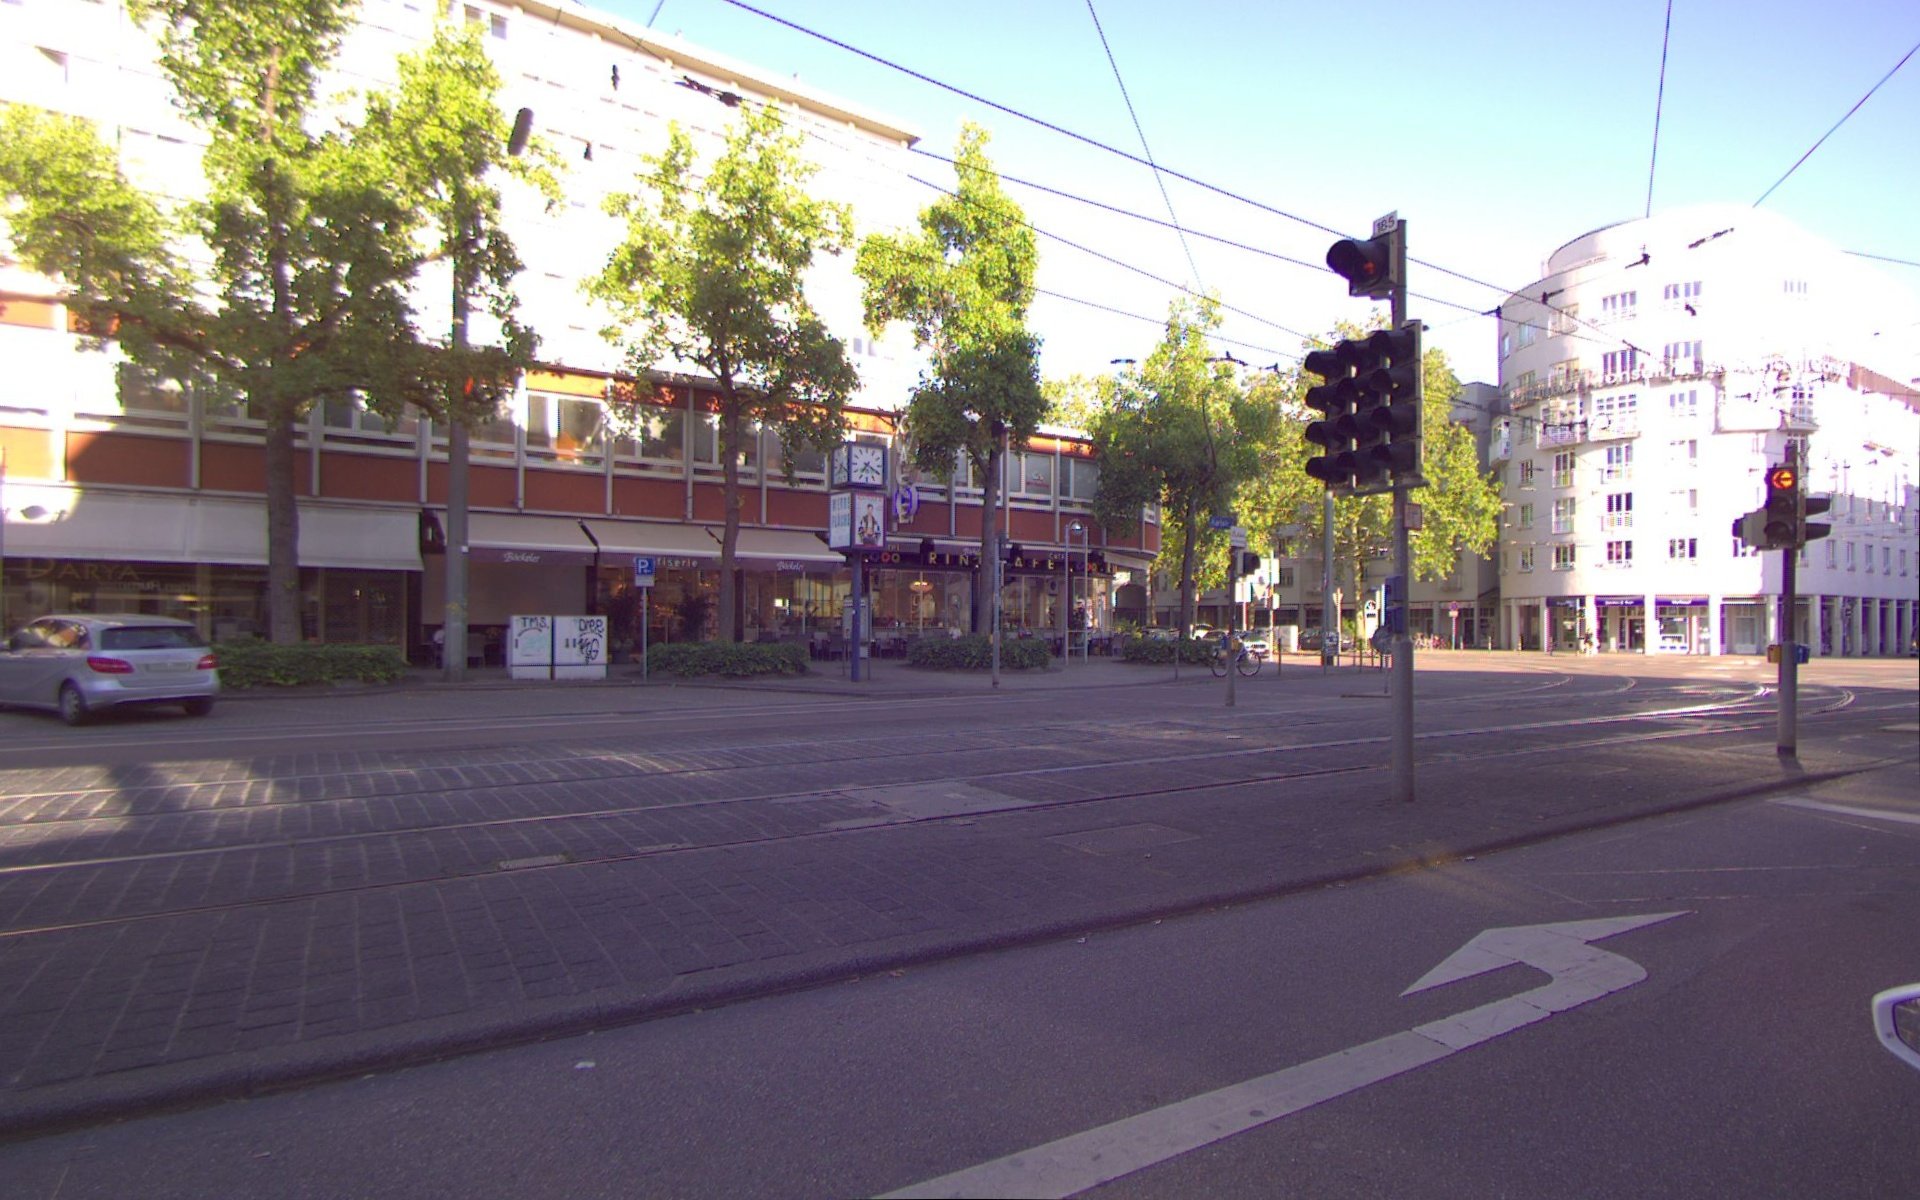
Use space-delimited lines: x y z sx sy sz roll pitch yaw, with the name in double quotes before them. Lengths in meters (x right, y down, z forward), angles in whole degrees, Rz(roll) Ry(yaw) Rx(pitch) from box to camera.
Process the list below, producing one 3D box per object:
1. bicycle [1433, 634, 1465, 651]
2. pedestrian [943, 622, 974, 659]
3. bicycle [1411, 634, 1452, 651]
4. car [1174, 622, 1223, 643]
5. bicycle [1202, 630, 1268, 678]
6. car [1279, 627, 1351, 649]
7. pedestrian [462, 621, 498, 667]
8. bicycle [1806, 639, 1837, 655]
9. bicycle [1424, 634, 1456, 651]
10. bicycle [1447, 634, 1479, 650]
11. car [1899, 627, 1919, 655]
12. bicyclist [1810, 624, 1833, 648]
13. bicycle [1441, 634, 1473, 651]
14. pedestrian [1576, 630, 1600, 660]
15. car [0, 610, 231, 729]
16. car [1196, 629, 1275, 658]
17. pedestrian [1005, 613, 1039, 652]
"bicycle" 34.361 2.985 70.635 0.808 1.122 1.934 1 -1 -28
"pedestrian" -0.057 1.394 34.815 0.893 1.280 0.837 1 -1 -17
"bicycle" 32.349 2.938 68.935 2.410 1.122 0.932 -1 -2 44
"car" 19.811 2.717 83.470 3.960 1.738 1.783 2 -2 -35
"bicycle" 7.532 1.470 27.502 1.833 1.251 0.578 1 0 -28
"car" 23.590 2.513 66.855 1.867 1.440 4.423 0 -2 -28
"pedestrian" -12.636 1.140 26.417 0.721 1.187 0.771 1 -1 -36
"bicycle" 52.957 2.861 61.742 2.241 0.939 0.836 1 -1 -34
"bicycle" 33.503 2.974 70.167 0.808 1.122 1.934 1 -1 -28
"bicycle" 36.001 3.010 71.928 0.809 1.122 1.933 1 -1 -30
"car" 58.819 2.456 60.758 4.463 1.641 1.982 1 -2 -34
"bicyclist" 52.969 2.214 61.760 0.887 1.486 0.836 1 -1 -33
"bicycle" 35.322 3.000 71.395 0.809 1.122 1.933 1 -1 -30
"pedestrian" 35.480 2.543 56.779 0.687 1.704 0.866 -1 -1 -24
"car" -13.452 0.986 15.603 3.925 1.574 1.796 1 0 26
"car" 14.006 2.204 51.260 1.860 1.440 4.442 1 -2 -16
"pedestrian" 2.241 1.183 36.505 0.880 1.414 0.929 1 -1 -31
